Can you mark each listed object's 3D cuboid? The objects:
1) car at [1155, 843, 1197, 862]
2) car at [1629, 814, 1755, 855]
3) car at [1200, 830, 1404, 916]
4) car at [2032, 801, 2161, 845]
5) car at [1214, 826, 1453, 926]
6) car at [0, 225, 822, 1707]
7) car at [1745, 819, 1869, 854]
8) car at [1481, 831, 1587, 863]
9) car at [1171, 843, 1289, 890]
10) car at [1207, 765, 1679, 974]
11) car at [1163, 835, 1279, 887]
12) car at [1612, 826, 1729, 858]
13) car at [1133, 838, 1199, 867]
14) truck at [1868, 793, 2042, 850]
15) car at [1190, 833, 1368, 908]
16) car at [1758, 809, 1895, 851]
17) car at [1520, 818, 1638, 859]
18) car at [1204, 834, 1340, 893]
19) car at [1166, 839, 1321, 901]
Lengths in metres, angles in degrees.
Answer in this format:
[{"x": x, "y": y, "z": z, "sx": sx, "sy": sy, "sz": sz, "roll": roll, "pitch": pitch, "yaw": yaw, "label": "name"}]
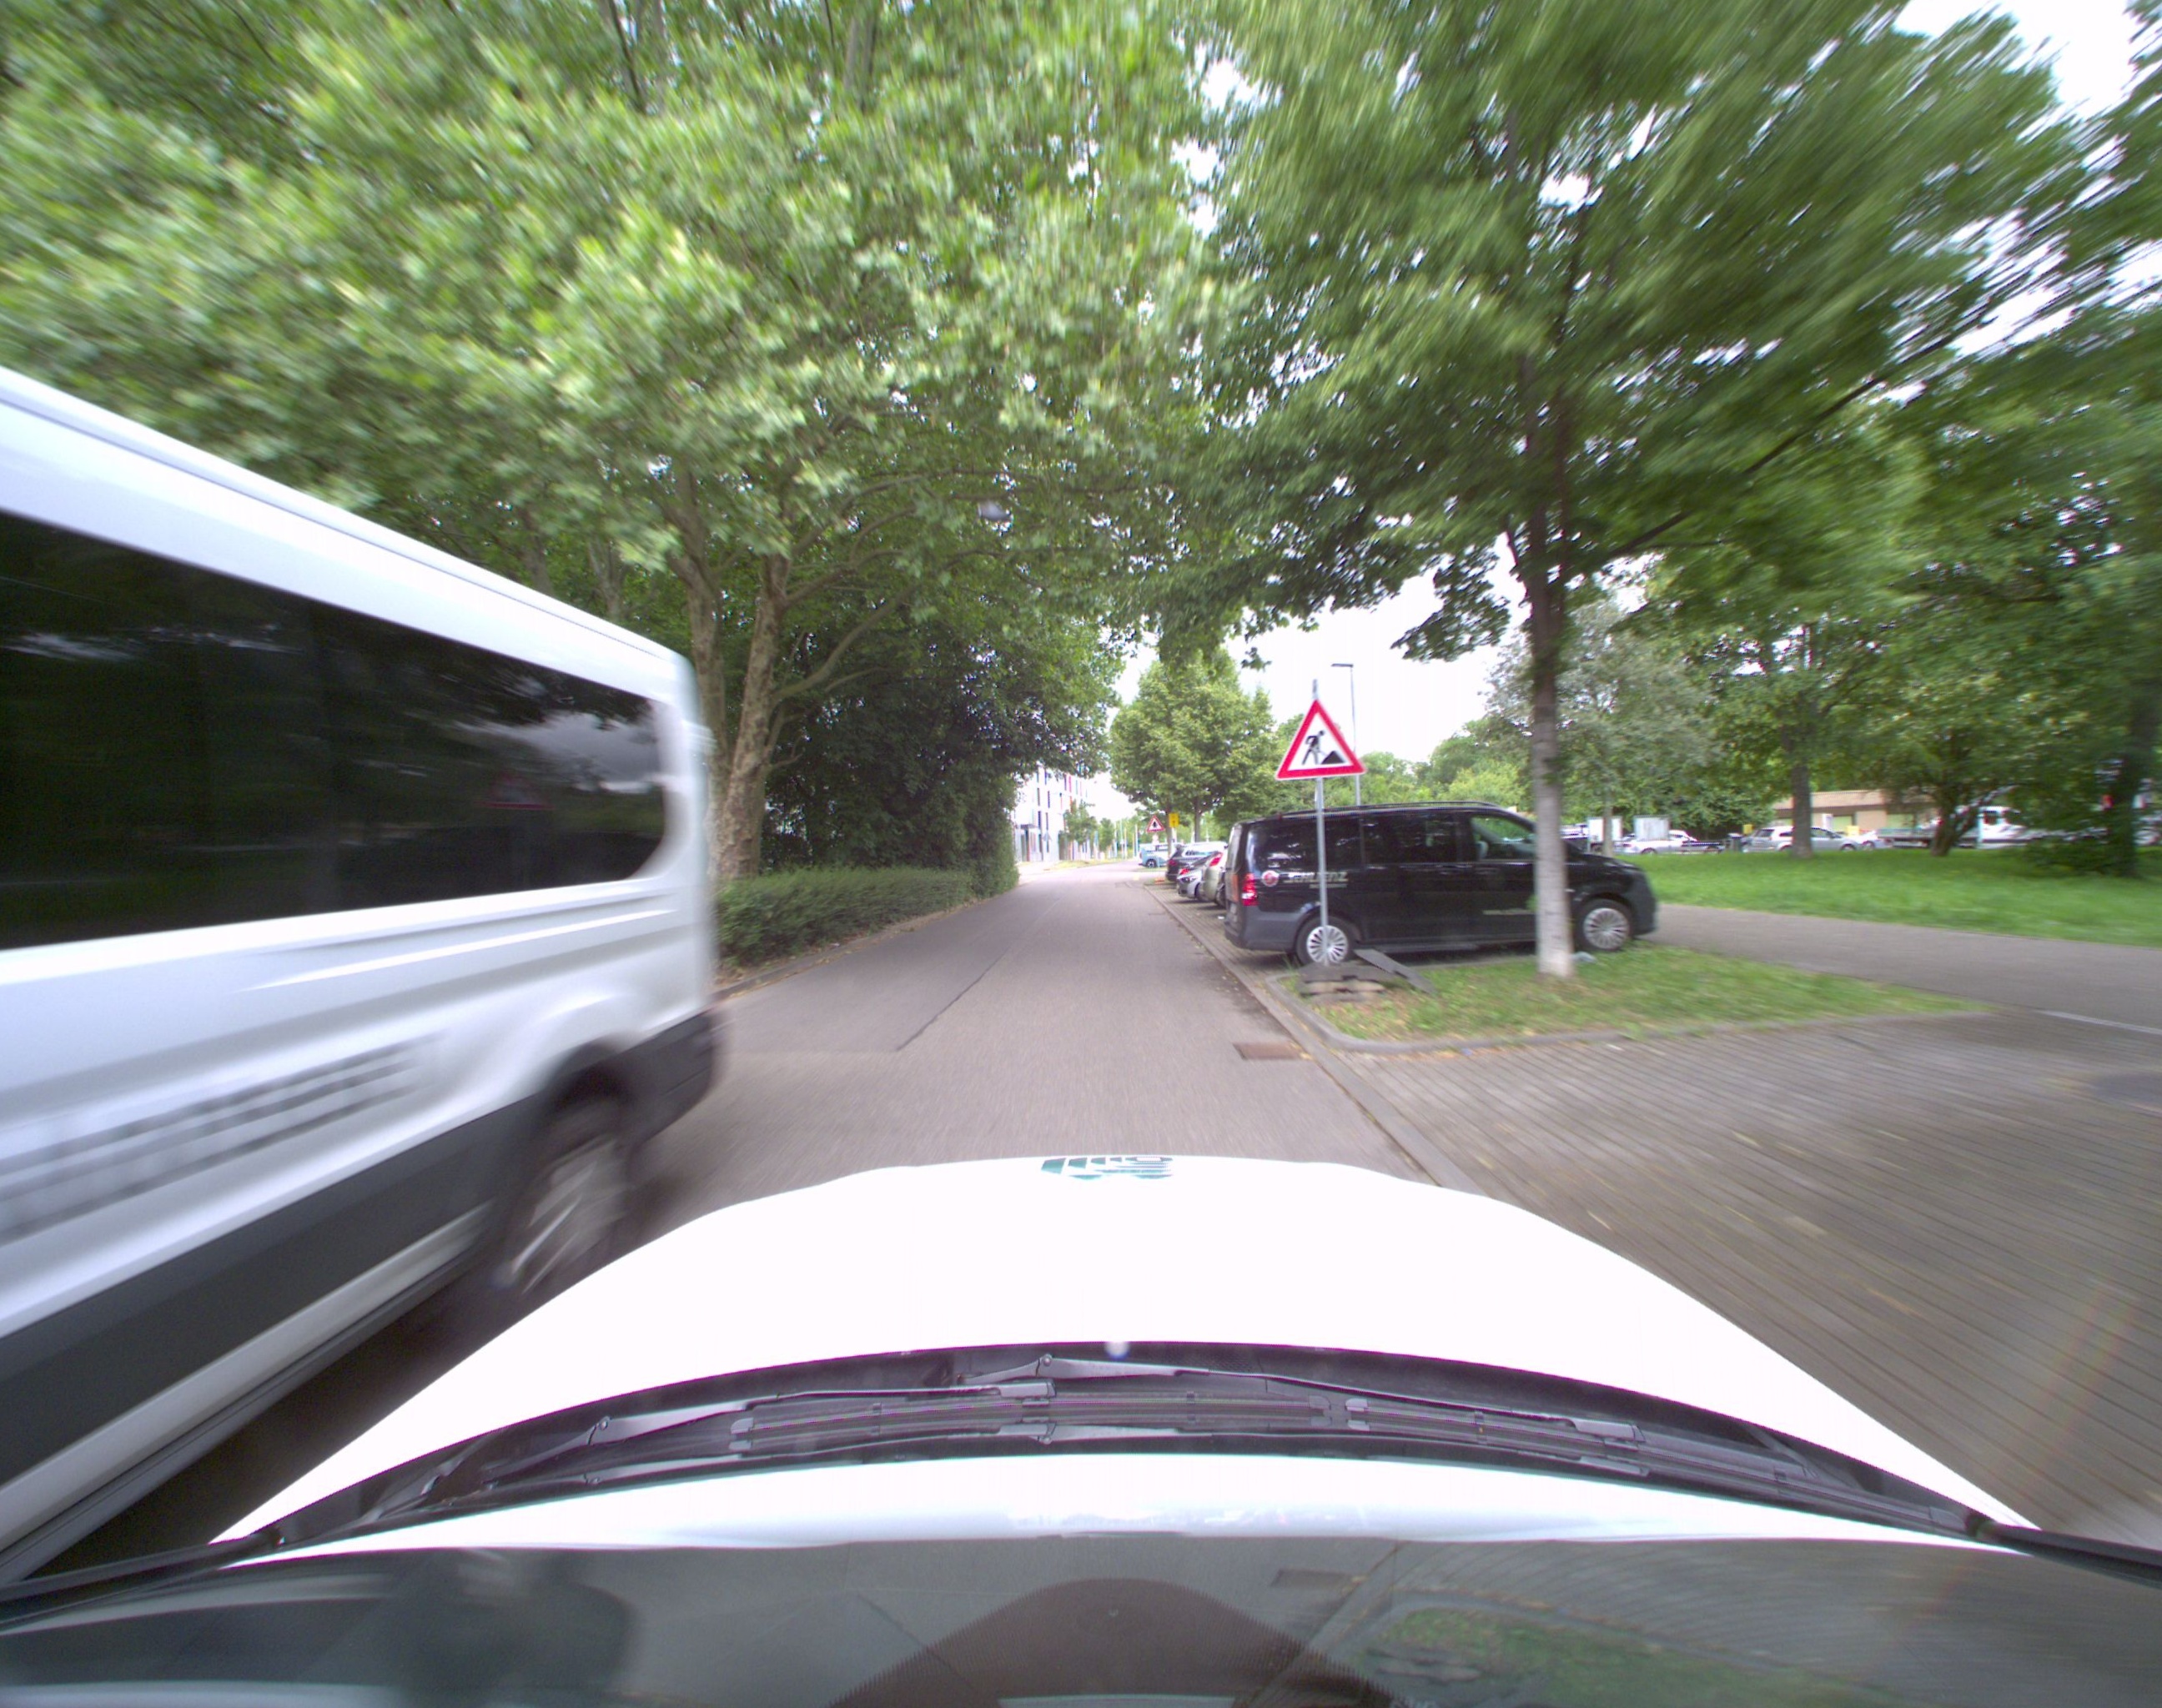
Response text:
[{"x": 10.089, "y": -0.207, "z": 86.824, "sx": 4.356, "sy": 1.904, "sz": 1.940, "roll": -1, "pitch": 0, "yaw": 6, "label": "car"}, {"x": 34.349, "y": -1.049, "z": 45.911, "sx": 5.289, "sy": 2.057, "sz": 2.142, "roll": -2, "pitch": 0, "yaw": 8, "label": "car"}, {"x": 4.702, "y": 0.390, "z": 17.798, "sx": 3.944, "sy": 1.511, "sz": 1.765, "roll": -4, "pitch": 0, "yaw": 4, "label": "car"}, {"x": 53.926, "y": -1.627, "z": 42.613, "sx": 5.289, "sy": 2.057, "sz": 2.142, "roll": -2, "pitch": 0, "yaw": 8, "label": "car"}, {"x": 4.644, "y": 0.392, "z": 15.461, "sx": 3.945, "sy": 1.511, "sz": 1.795, "roll": -4, "pitch": 0, "yaw": 3, "label": "car"}, {"x": -2.710, "y": 0.275, "z": 1.474, "sx": 2.123, "sy": 2.475, "sz": 6.282, "roll": -1, "pitch": 0, "yaw": 3, "label": "car"}, {"x": 35.337, "y": -0.836, "z": 39.726, "sx": 4.258, "sy": 1.526, "sz": 1.707, "roll": -2, "pitch": 0, "yaw": 8, "label": "car"}, {"x": 23.000, "y": -0.353, "z": 41.499, "sx": 4.368, "sy": 1.428, "sz": 1.707, "roll": -2, "pitch": 0, "yaw": 7, "label": "car"}, {"x": 5.075, "y": 0.419, "z": 28.187, "sx": 3.814, "sy": 1.358, "sz": 1.825, "roll": -4, "pitch": -1, "yaw": 5, "label": "car"}, {"x": 4.259, "y": 0.183, "z": 10.350, "sx": 4.934, "sy": 2.013, "sz": 2.167, "roll": -4, "pitch": 0, "yaw": 3, "label": "car"}, {"x": 5.217, "y": 0.268, "z": 30.795, "sx": 4.104, "sy": 1.650, "sz": 1.983, "roll": -4, "pitch": -1, "yaw": 5, "label": "car"}, {"x": 29.359, "y": -0.577, "z": 40.683, "sx": 4.403, "sy": 1.428, "sz": 1.707, "roll": -2, "pitch": 0, "yaw": 8, "label": "car"}, {"x": 6.579, "y": -0.109, "z": 63.548, "sx": 4.952, "sy": 1.972, "sz": 1.848, "roll": -4, "pitch": 0, "yaw": 2, "label": "car"}, {"x": 41.862, "y": -1.518, "z": 39.153, "sx": 5.475, "sy": 2.426, "sz": 2.198, "roll": -2, "pitch": 0, "yaw": 8, "label": "truck"}, {"x": 4.829, "y": 0.402, "z": 20.301, "sx": 3.971, "sy": 1.528, "sz": 1.812, "roll": -4, "pitch": -1, "yaw": 2, "label": "car"}, {"x": 41.091, "y": -1.309, "z": 44.998, "sx": 5.289, "sy": 2.057, "sz": 2.142, "roll": -2, "pitch": 0, "yaw": 8, "label": "car"}, {"x": 28.297, "y": -0.861, "z": 46.459, "sx": 5.289, "sy": 2.057, "sz": 2.142, "roll": -2, "pitch": 0, "yaw": 8, "label": "car"}, {"x": 5.916, "y": 0.309, "z": 25.553, "sx": 3.818, "sy": 1.558, "sz": 1.819, "roll": -4, "pitch": -1, "yaw": 1, "label": "car"}, {"x": 4.486, "y": 0.447, "z": 22.972, "sx": 3.973, "sy": 1.430, "sz": 1.936, "roll": -4, "pitch": -1, "yaw": 1, "label": "car"}]
